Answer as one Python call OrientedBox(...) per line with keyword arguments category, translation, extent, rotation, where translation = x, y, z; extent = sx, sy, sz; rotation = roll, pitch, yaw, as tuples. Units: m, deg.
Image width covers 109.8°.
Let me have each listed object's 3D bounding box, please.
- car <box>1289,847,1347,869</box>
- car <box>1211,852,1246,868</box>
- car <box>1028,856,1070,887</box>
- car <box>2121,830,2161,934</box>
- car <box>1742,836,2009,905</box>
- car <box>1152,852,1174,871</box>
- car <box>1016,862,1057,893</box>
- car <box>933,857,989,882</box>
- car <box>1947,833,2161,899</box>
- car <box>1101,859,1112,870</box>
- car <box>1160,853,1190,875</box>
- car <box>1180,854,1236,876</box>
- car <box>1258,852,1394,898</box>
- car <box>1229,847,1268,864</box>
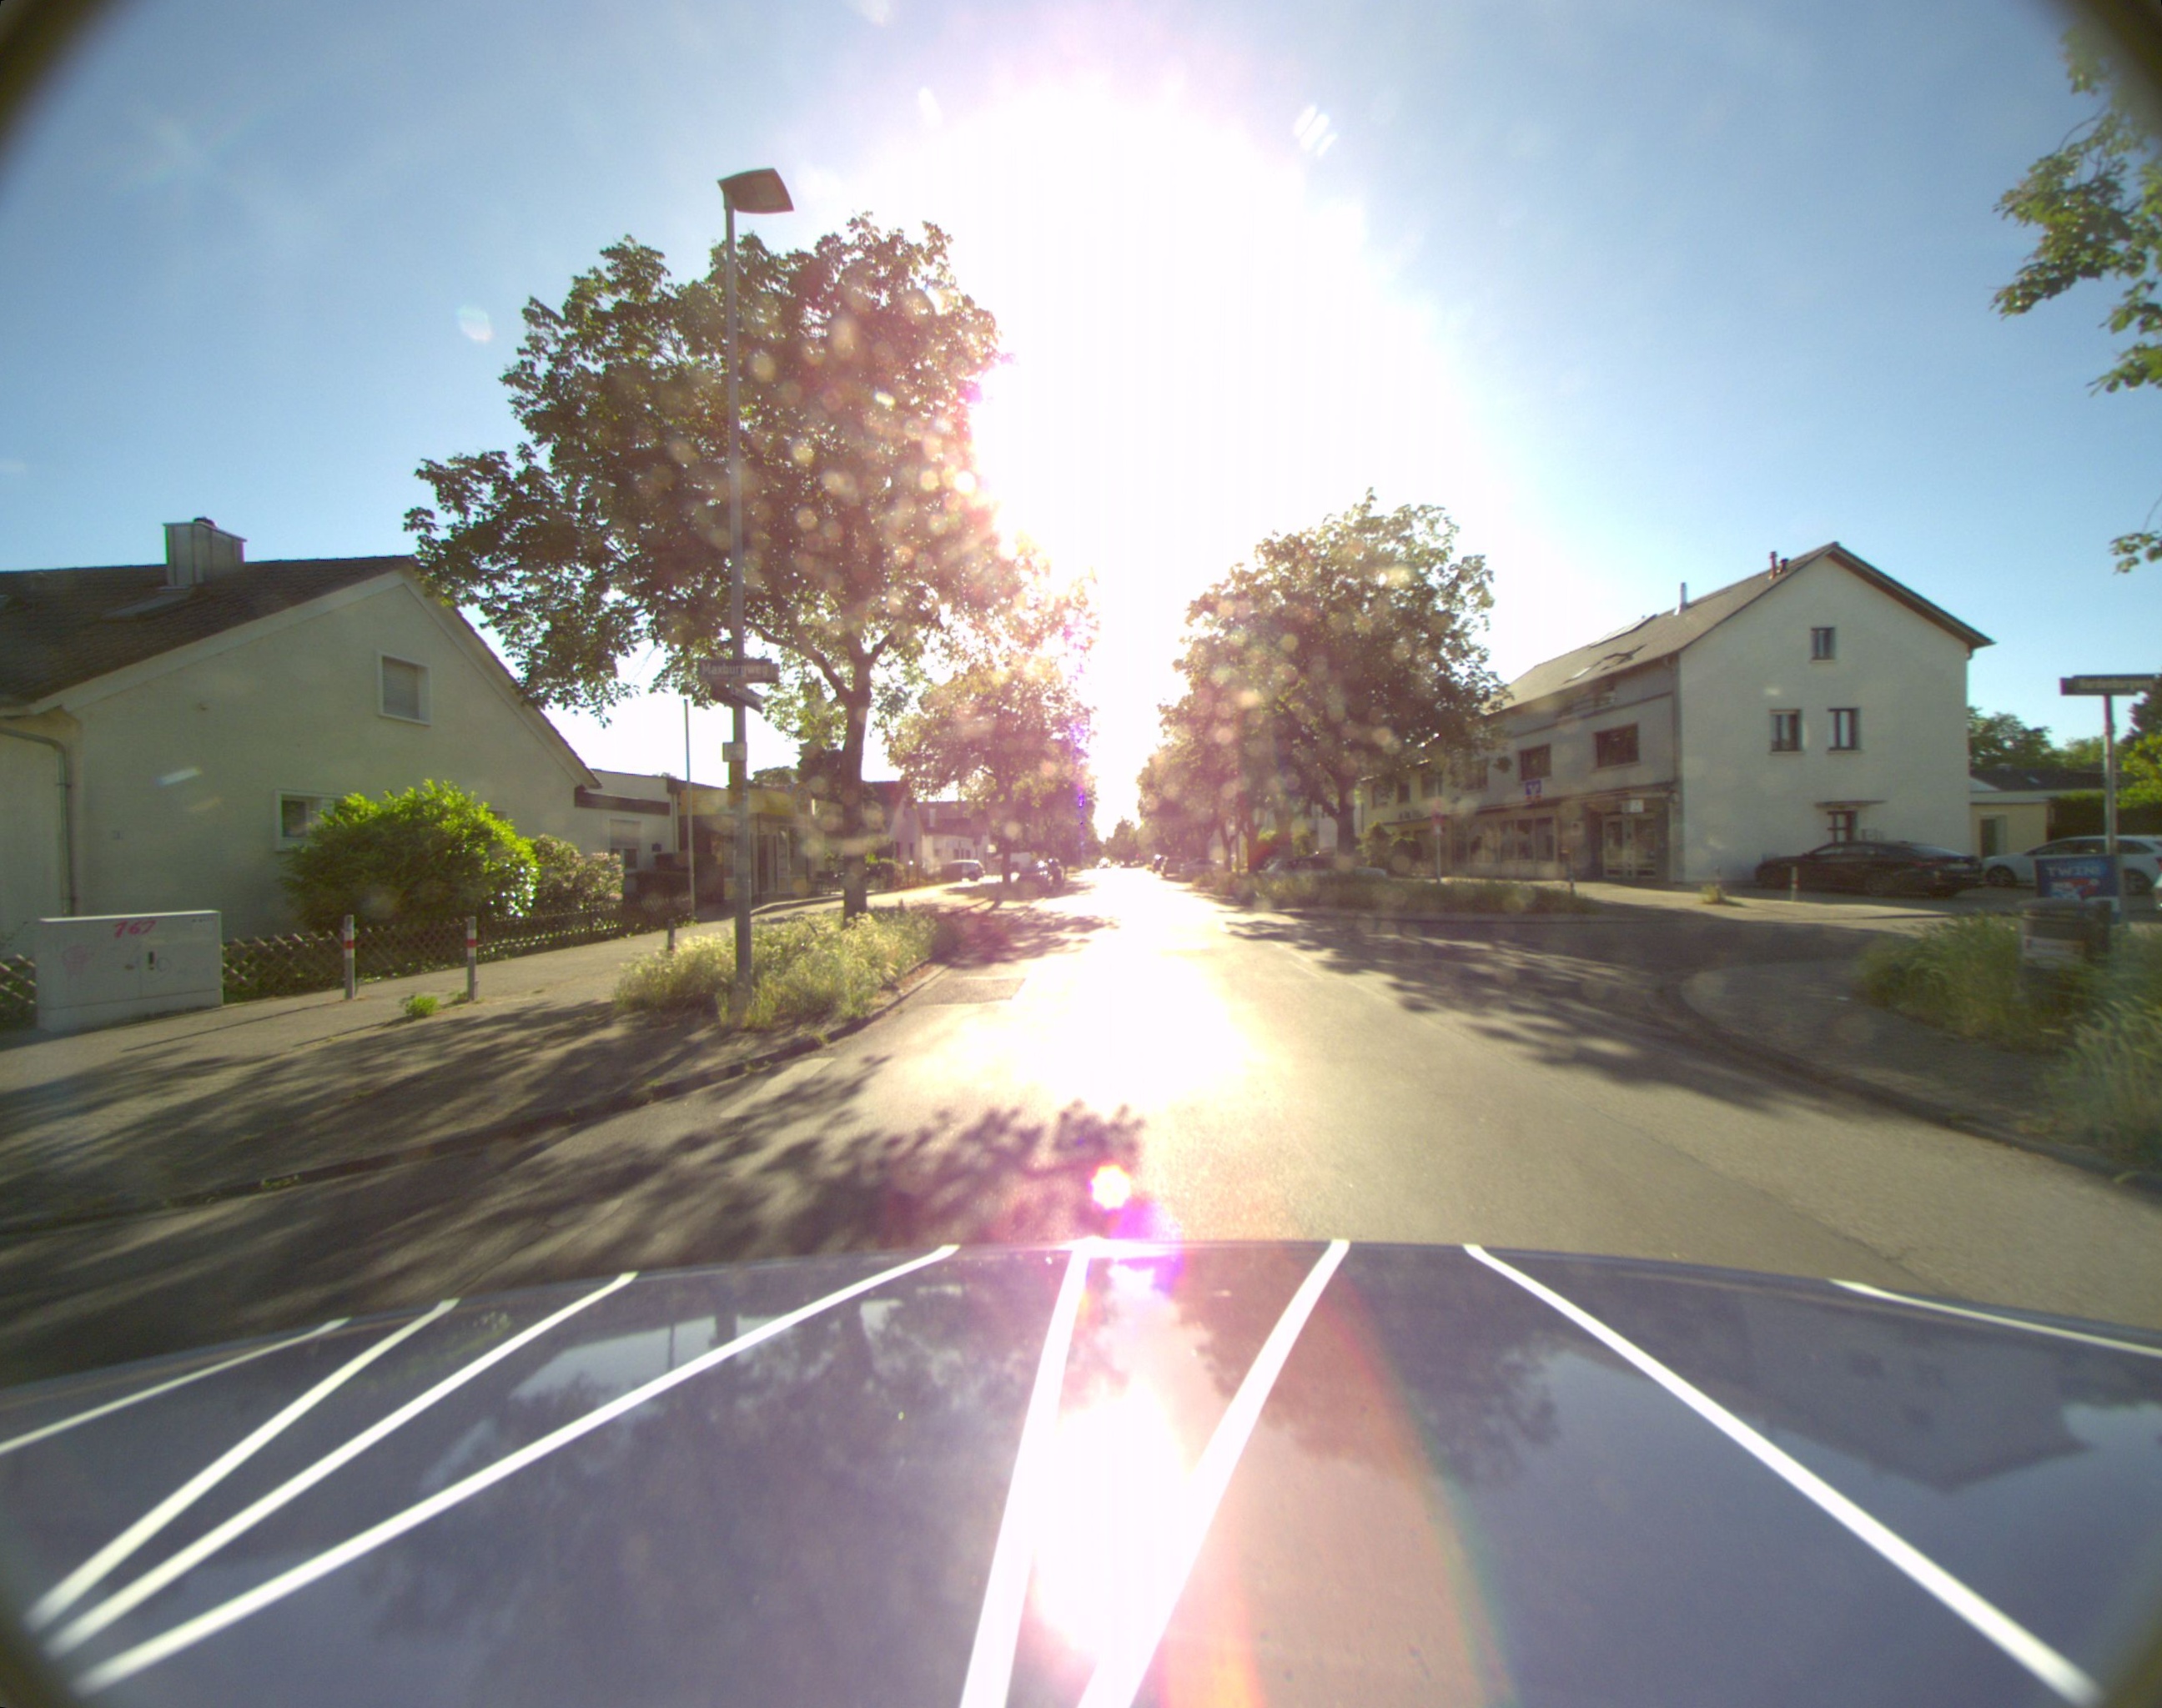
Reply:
OrientedBox(category="car", translation=(17.265, 0.264, 55.514), extent=(3.773, 1.556, 1.691), rotation=(0, 1, 5))
OrientedBox(category="car", translation=(18.865, 0.758, 97.232), extent=(3.997, 1.674, 2.000), rotation=(-5, 1, 1))
OrientedBox(category="car", translation=(-1.849, 1.001, 45.046), extent=(1.941, 1.684, 4.363), rotation=(-2, 0, 4))
OrientedBox(category="car", translation=(18.941, 0.425, 11.474), extent=(3.998, 1.628, 1.999), rotation=(-1, 0, -4))
OrientedBox(category="car", translation=(21.246, 0.332, 20.726), extent=(1.999, 1.554, 4.906), rotation=(-2, 2, -3))
OrientedBox(category="car", translation=(7.748, 0.712, 72.035), extent=(1.815, 1.722, 4.056), rotation=(-2, 0, 4))
OrientedBox(category="car", translation=(-2.223, 1.157, 38.731), extent=(1.689, 1.414, 3.777), rotation=(-1, 1, 3))
OrientedBox(category="car", translation=(-8.459, 1.053, 53.945), extent=(3.621, 1.431, 1.695), rotation=(-5, 1, -1))
OrientedBox(category="car", translation=(26.894, 0.244, 20.377), extent=(1.877, 1.519, 4.666), rotation=(-2, 2, -3))
OrientedBox(category="car", translation=(4.040, 1.634, 122.043), extent=(1.539, 1.582, 3.459), rotation=(-5, 1, 4))
OrientedBox(category="car", translation=(7.481, 0.787, 60.722), extent=(1.998, 1.530, 3.695), rotation=(-5, 1, 4))
OrientedBox(category="car", translation=(9.269, 0.804, 55.739), extent=(3.694, 1.315, 1.624), rotation=(-4, 1, -4))
OrientedBox(category="car", translation=(9.106, 0.748, 28.524), extent=(4.392, 1.408, 2.000), rotation=(-3, 1, 1))
OrientedBox(category="car", translation=(19.629, 0.127, 89.239), extent=(3.997, 1.674, 2.000), rotation=(-5, 1, 1))
